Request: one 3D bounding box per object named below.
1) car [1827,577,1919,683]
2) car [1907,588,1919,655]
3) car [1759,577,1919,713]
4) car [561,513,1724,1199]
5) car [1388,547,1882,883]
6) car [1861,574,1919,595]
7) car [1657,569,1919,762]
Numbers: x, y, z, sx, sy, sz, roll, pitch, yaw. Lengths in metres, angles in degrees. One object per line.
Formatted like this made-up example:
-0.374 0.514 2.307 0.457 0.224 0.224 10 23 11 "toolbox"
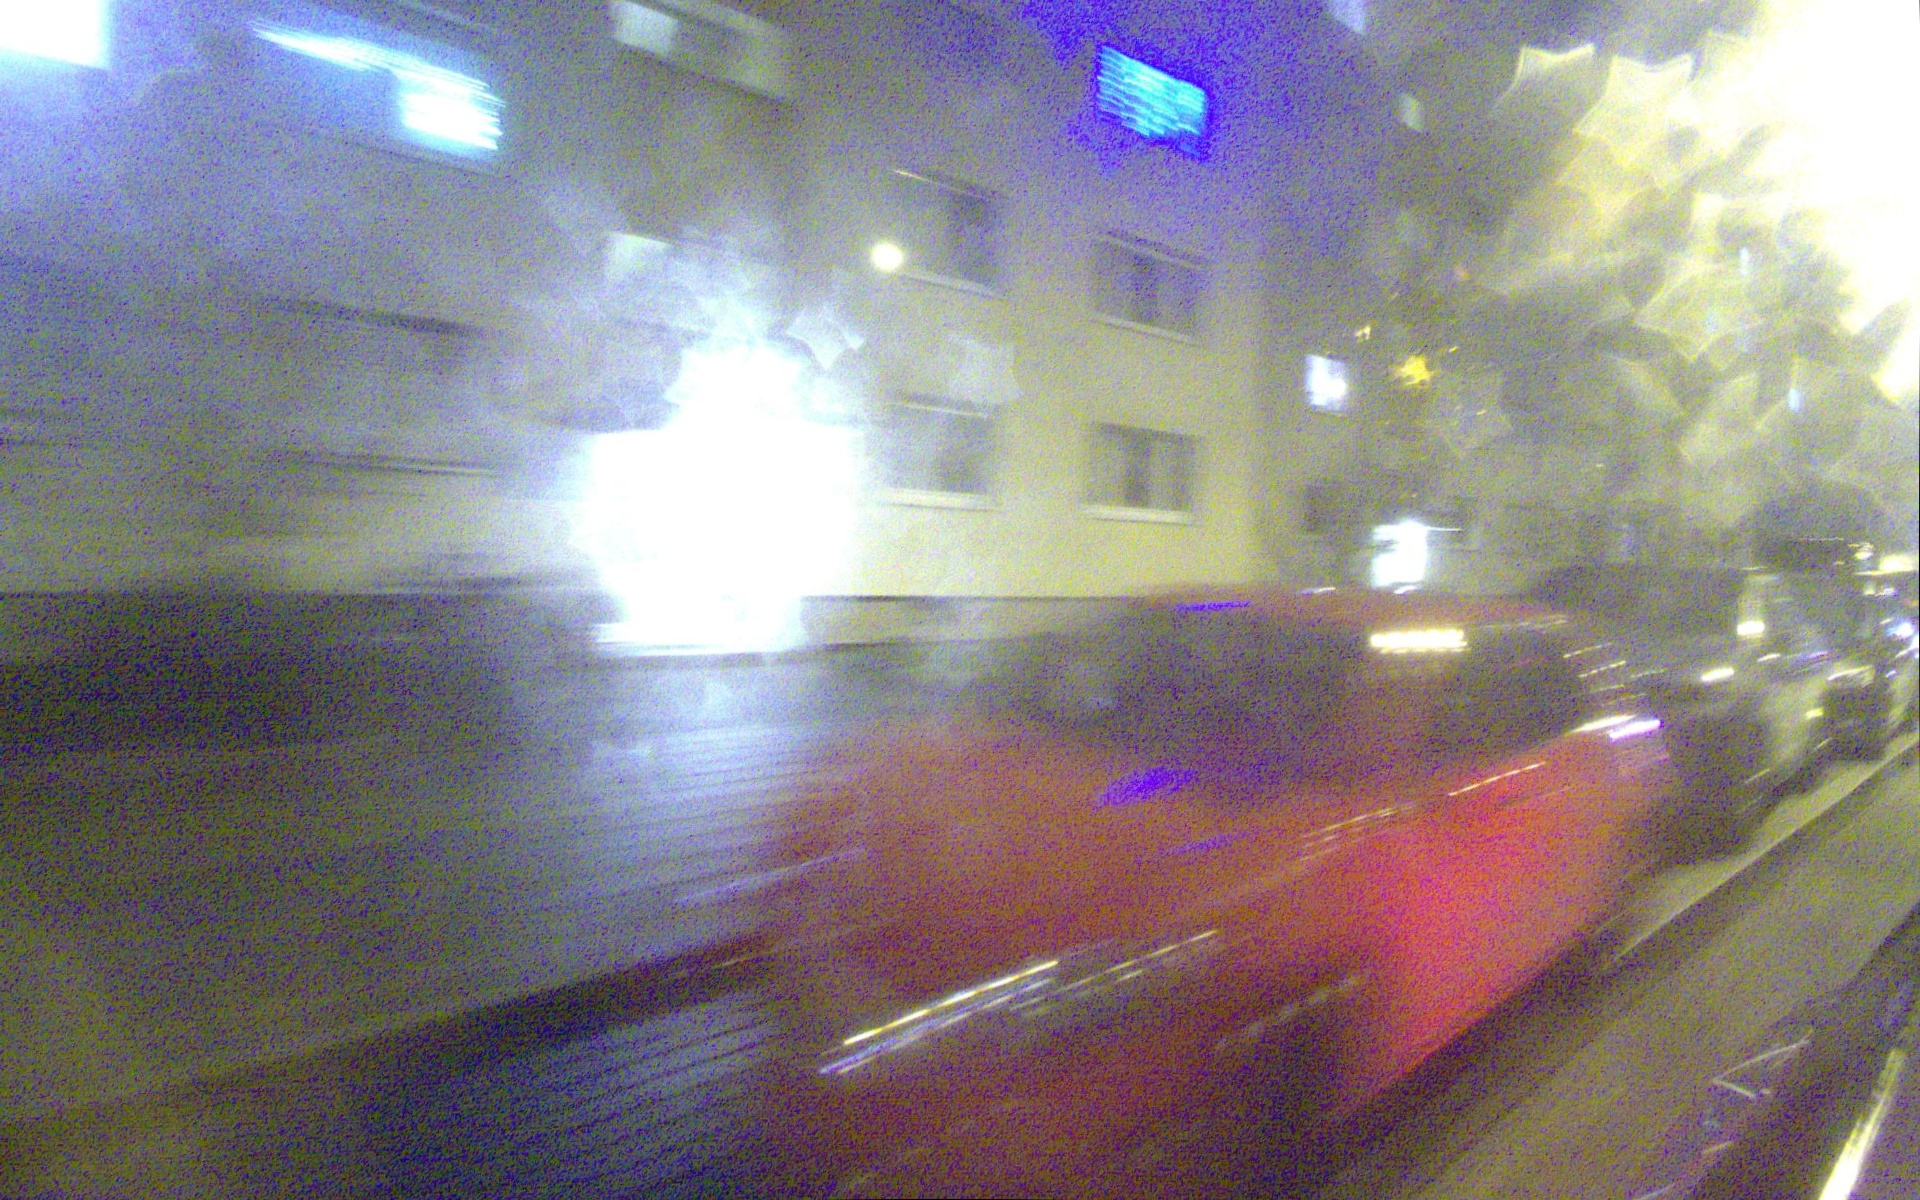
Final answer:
16.465 0.472 17.188 4.888 1.566 1.759 0 4 -40 "car"
20.827 0.465 20.951 3.567 1.322 1.459 0 4 -43 "car"
12.929 0.539 14.096 4.273 1.566 1.830 0 4 -39 "car"
1.101 0.525 3.713 4.411 1.439 1.826 0 4 -42 "car"
5.042 0.546 7.286 4.411 1.657 1.826 0 4 -42 "car"
75.161 -1.230 81.479 1.636 1.474 3.664 0 4 -40 "car"
9.291 0.524 10.843 4.964 1.549 1.803 0 4 -42 "car"
